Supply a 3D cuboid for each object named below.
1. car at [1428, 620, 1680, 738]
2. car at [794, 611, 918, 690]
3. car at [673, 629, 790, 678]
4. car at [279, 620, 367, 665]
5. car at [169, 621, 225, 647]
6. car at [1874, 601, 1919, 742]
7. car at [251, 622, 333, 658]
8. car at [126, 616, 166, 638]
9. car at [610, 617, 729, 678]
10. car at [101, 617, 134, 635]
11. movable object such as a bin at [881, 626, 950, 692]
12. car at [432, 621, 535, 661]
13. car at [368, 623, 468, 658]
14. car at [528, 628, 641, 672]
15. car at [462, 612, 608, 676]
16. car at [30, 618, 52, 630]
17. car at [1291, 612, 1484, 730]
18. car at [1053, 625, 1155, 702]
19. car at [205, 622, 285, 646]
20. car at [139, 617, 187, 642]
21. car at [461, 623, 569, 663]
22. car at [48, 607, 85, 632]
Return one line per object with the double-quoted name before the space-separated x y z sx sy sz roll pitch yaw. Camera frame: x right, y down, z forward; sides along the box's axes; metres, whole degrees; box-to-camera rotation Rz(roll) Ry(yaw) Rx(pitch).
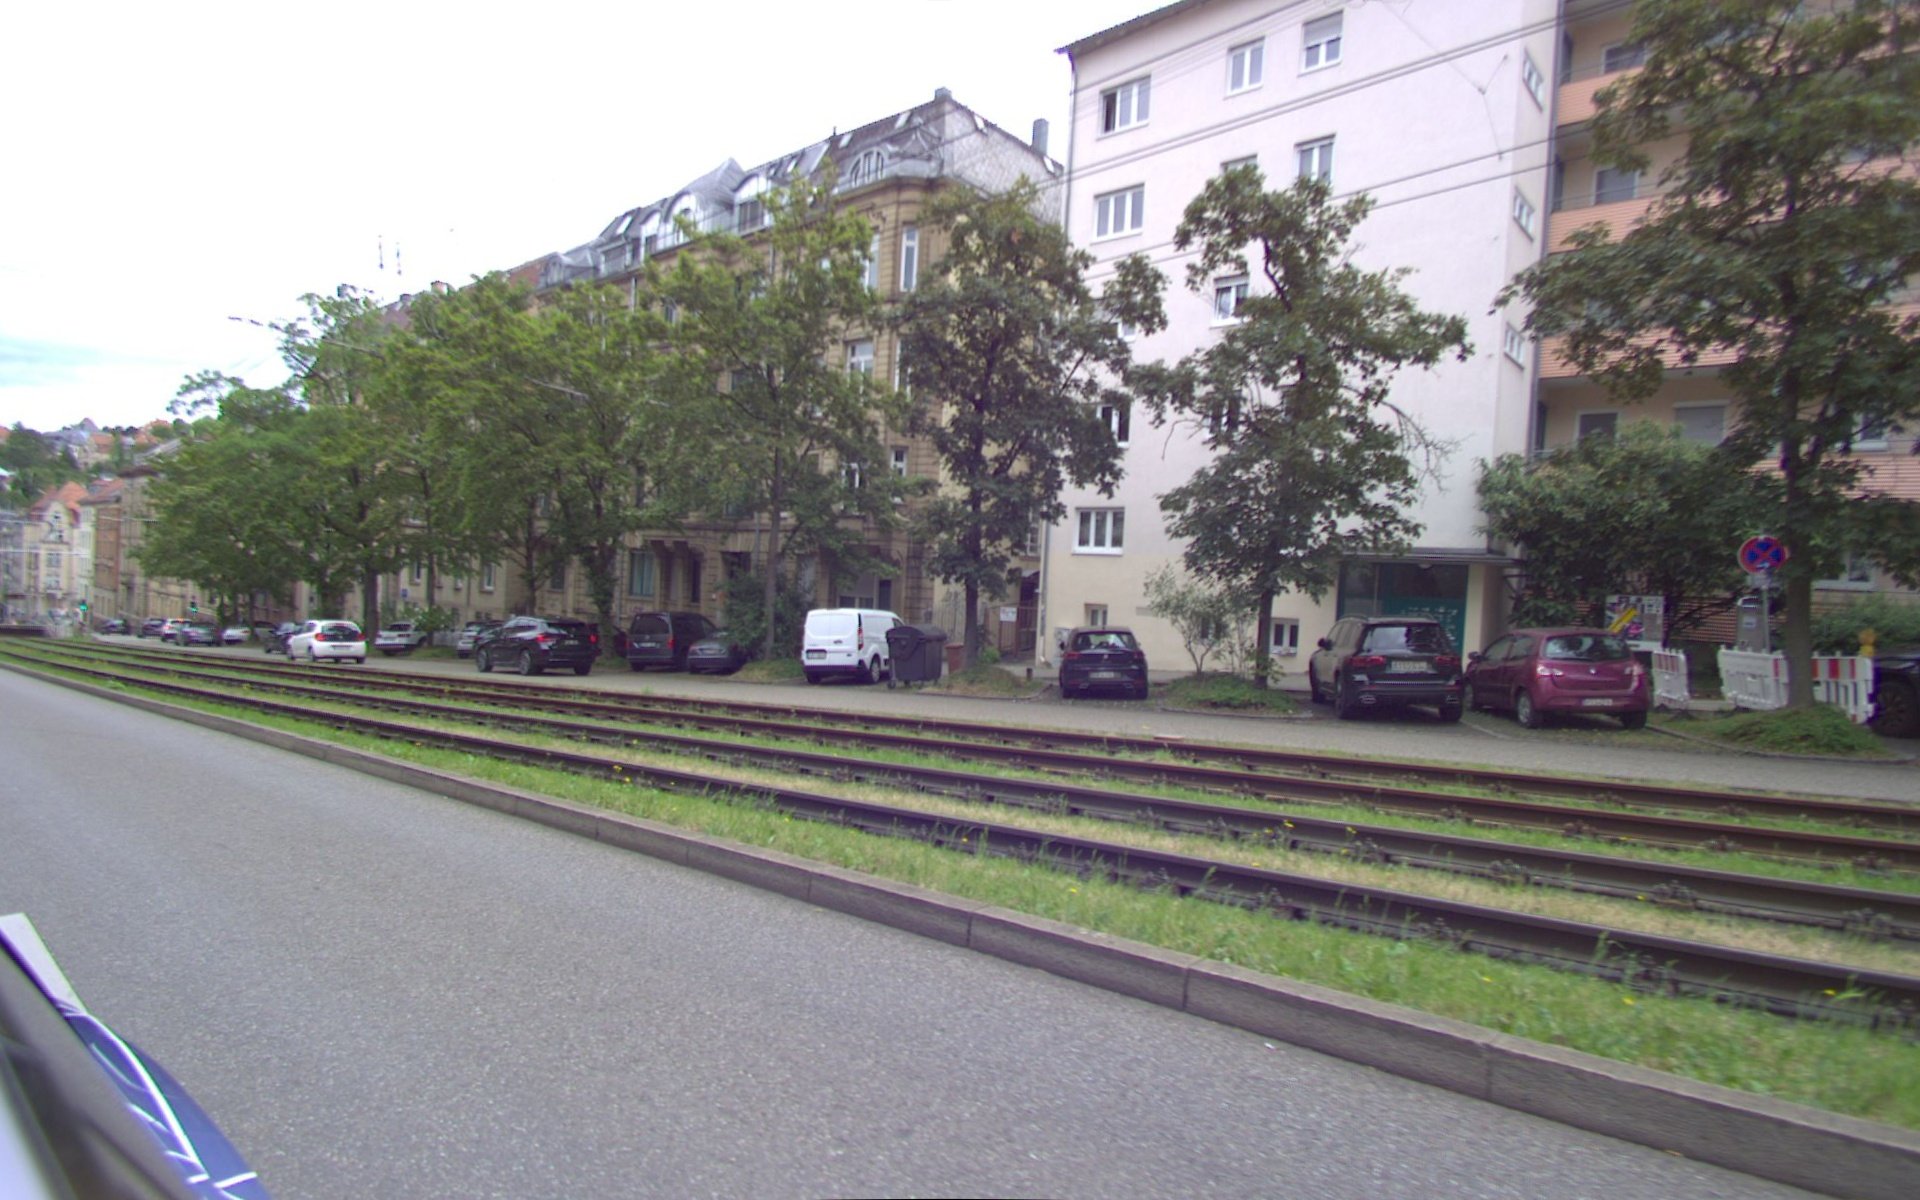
"car" 9.386 1.158 16.509 1.914 1.560 4.595 -1 0 8
"car" -2.553 1.240 25.968 1.854 1.850 4.171 0 -2 14
"car" -6.667 1.549 30.063 1.852 1.350 4.176 0 -2 12
"car" -21.666 1.445 34.399 3.411 1.446 1.571 -2 -4 41
"car" -44.218 1.982 58.601 4.596 1.421 1.706 -1 -4 42
"car" 13.487 0.906 11.411 1.907 1.811 4.613 -1 0 -5
"car" -29.699 1.767 44.950 4.491 1.446 1.846 -1 -5 41
"car" -65.608 2.176 81.571 4.241 1.669 1.761 -1 -4 42
"car" -8.987 1.457 31.714 1.852 1.781 4.176 0 -2 12
"car" -79.759 2.460 95.793 4.472 1.663 1.859 -2 -4 45
"movable object such as a bin" -0.995 1.315 22.914 1.090 1.411 1.267 -1 -1 26
"car" -19.927 1.717 42.532 1.851 1.585 4.178 0 -2 10
"car" -23.914 1.788 44.823 1.766 1.481 4.142 1 -2 9
"car" -13.235 1.746 35.949 1.852 1.446 4.176 0 -2 12
"car" -11.982 1.226 28.388 4.605 1.662 1.897 -2 -4 41
"car" -113.523 2.973 125.034 4.750 1.439 1.728 -2 -4 45
"car" 7.117 1.091 17.414 1.914 1.694 4.595 -1 0 8
"car" 3.057 1.262 21.528 1.914 1.355 4.595 -1 0 8
"car" -44.252 2.079 62.713 1.766 1.433 3.987 0 -2 10
"car" -53.937 1.995 68.498 4.344 1.629 1.761 -1 -4 42
"car" -17.336 1.662 39.697 1.851 1.446 4.177 0 -2 11
"car" -103.143 2.279 116.774 6.517 2.720 2.366 -1 -4 43
